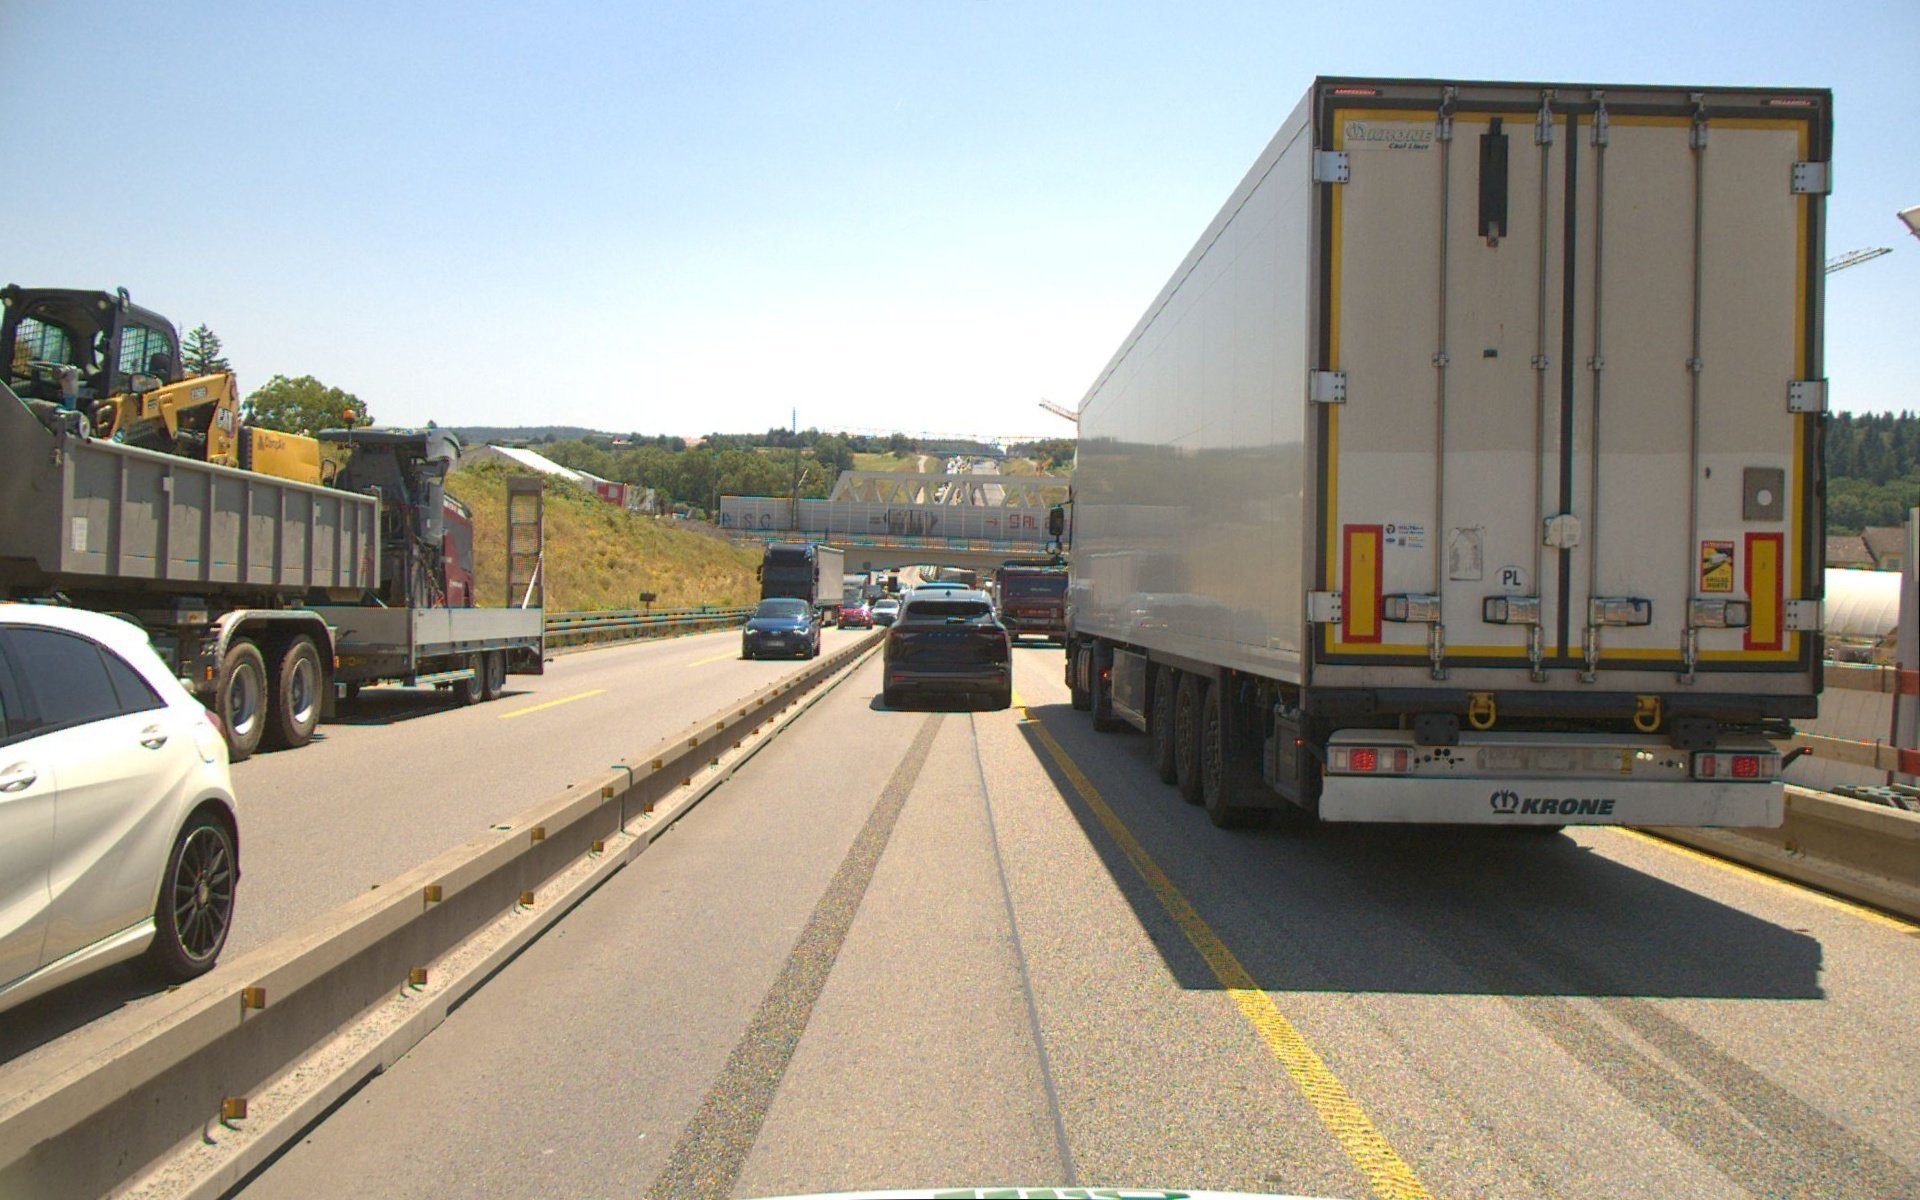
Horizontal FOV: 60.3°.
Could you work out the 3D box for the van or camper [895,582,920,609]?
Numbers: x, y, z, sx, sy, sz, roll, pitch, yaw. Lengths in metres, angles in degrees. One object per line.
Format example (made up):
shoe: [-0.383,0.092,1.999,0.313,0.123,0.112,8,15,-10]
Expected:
van or camper: [-5.061,-0.402,160.256,2.170,2.524,4.751,1,0,1]

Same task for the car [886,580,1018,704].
car: [-0.122,0.540,23.688,1.764,1.648,3.297,0,1,-1]

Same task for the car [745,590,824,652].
car: [-4.272,0.488,40.608,1.655,1.427,3.685,1,0,-2]

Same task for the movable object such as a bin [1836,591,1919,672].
movable object such as a bin: [36.644,1.188,61.780,2.828,2.960,9.479,1,0,0]

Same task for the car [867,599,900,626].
car: [-4.454,0.696,96.802,1.789,1.513,4.195,1,0,-1]

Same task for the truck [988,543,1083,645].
truck: [2.496,-0.208,58.875,2.756,3.190,12.837,1,0,0]

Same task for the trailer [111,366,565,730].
trailer: [-7.450,-0.545,21.479,2.534,3.700,9.077,1,0,-1]

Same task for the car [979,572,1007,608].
car: [2.217,-0.676,111.326,1.628,2.309,3.795,2,0,-2]

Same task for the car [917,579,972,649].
car: [-0.411,0.358,45.047,1.444,1.826,3.297,0,0,0]

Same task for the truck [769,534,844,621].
truck: [-7.865,-1.087,86.522,2.711,4.159,13.804,1,0,-1]

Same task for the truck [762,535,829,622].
truck: [-7.823,-1.003,79.306,2.711,3.952,4.963,1,0,-1]

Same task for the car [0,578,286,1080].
car: [-3.606,0.656,4.862,1.650,1.455,4.121,1,0,-2]

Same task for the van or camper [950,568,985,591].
van or camper: [1.166,-3.170,256.234,3.872,3.479,8.384,1,1,-11]

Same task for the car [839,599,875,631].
car: [-5.023,0.695,80.767,1.558,1.513,3.294,1,0,-1]

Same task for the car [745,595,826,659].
car: [-4.189,0.623,40.149,1.650,1.455,3.848,1,0,-2]

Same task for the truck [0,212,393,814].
truck: [-7.342,-0.565,13.136,2.534,3.788,9.331,1,0,-1]

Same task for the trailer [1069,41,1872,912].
trailer: [2.921,-0.586,14.974,2.744,4.129,14.114,1,0,-1]

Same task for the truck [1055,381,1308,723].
truck: [2.842,-0.583,22.620,2.720,4.129,4.904,1,0,-1]

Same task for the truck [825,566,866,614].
truck: [-7.329,-0.625,106.100,2.222,2.933,5.850,1,0,-1]

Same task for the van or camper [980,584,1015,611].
van or camper: [5.078,-0.397,221.999,3.859,3.479,8.412,1,1,6]

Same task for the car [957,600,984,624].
car: [0.602,0.733,98.771,1.461,1.354,3.243,2,0,-2]

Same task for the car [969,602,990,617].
car: [1.558,0.764,134.223,1.507,1.227,3.309,1,0,-3]

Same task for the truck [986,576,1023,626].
truck: [4.059,0.112,152.501,3.111,4.393,9.257,1,0,0]
